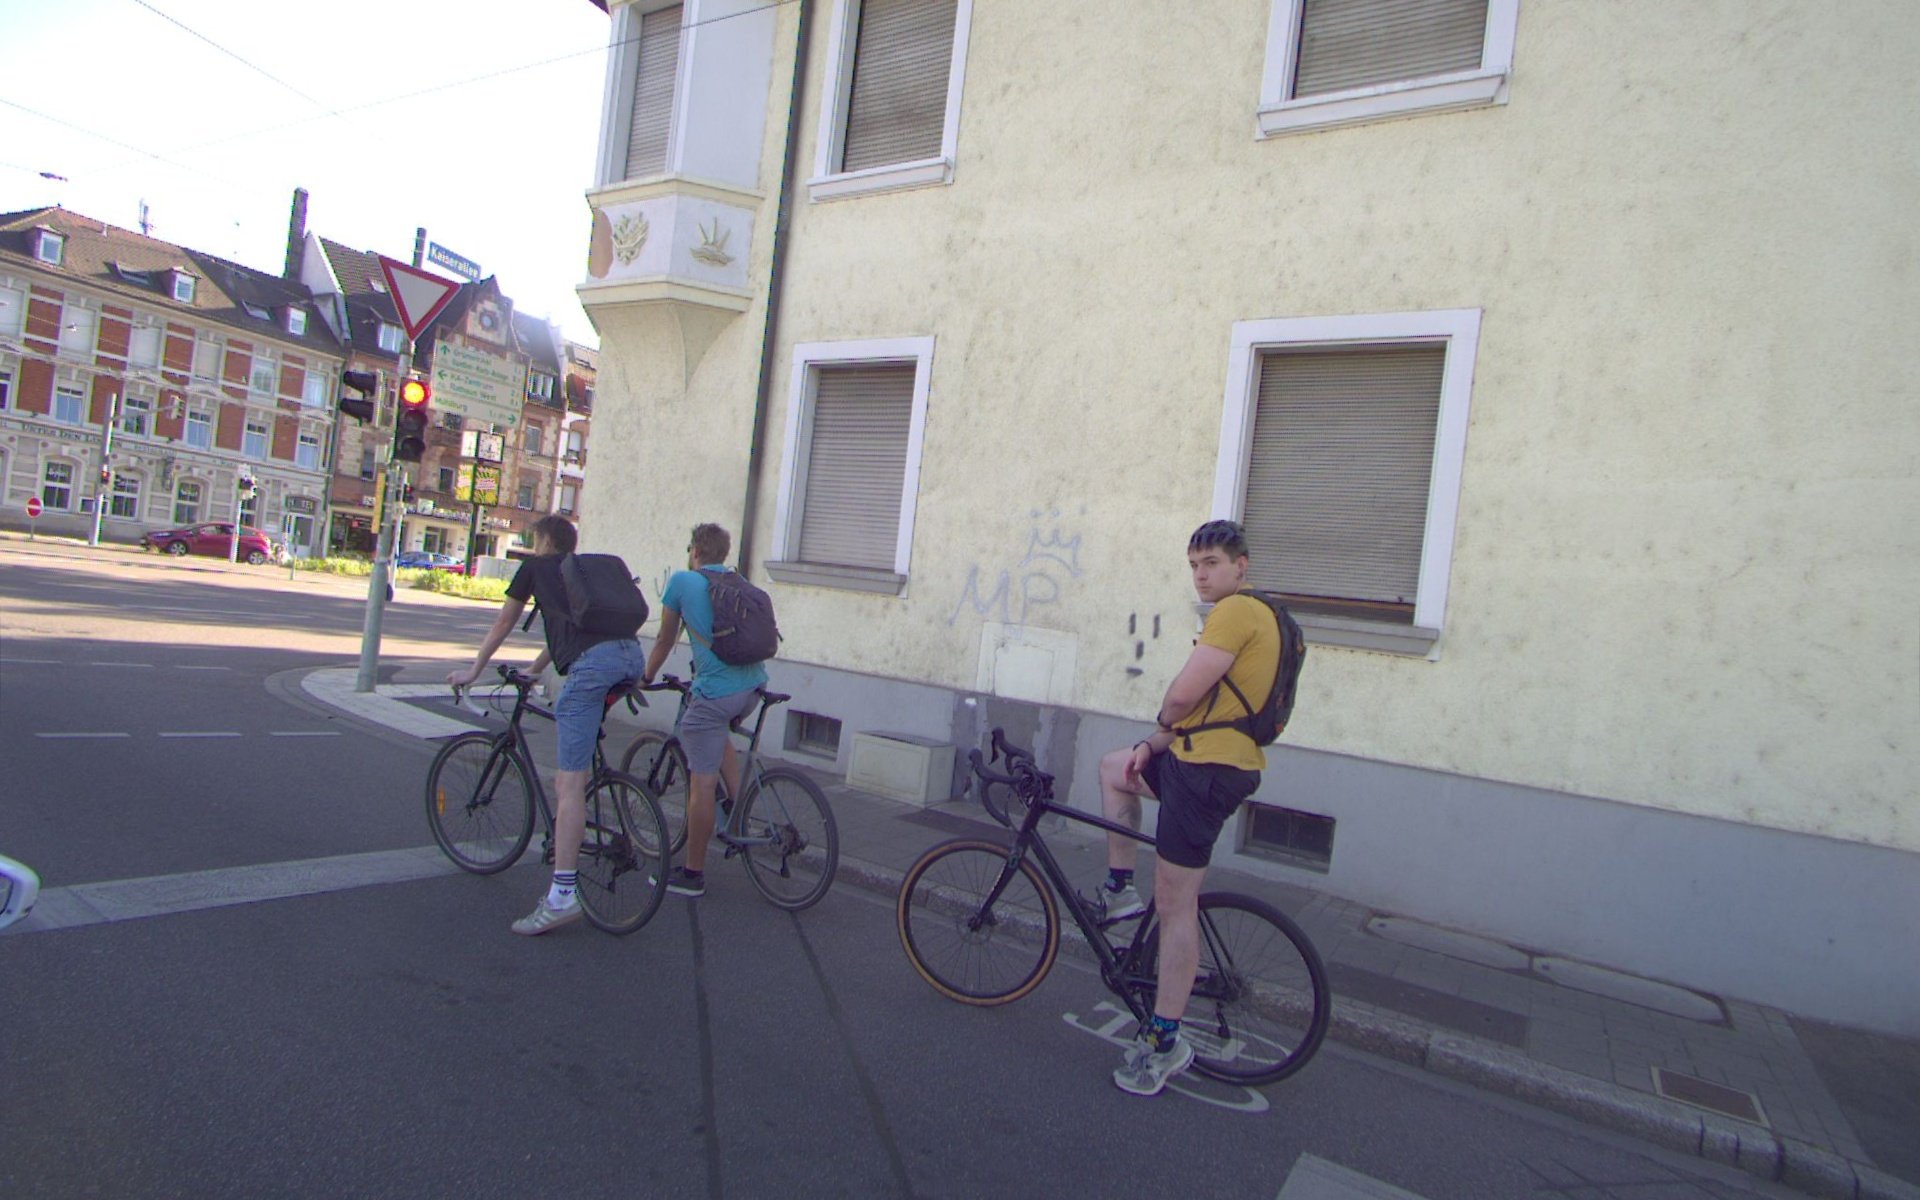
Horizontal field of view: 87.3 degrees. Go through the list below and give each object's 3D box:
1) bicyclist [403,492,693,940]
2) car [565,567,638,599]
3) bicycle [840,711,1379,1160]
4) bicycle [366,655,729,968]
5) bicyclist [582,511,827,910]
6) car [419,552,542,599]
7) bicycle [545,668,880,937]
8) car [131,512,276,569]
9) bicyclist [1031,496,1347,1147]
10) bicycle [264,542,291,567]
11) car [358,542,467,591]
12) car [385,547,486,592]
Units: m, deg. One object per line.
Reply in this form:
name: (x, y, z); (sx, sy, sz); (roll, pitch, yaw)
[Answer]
bicyclist: (-1.861, 0.470, 4.554); (0.920, 1.787, 0.590); (6, -1, 32)
car: (-23.161, -1.090, 65.135); (1.842, 1.454, 3.985); (6, -2, 35)
bicycle: (0.555, 1.122, 3.796); (1.709, 1.119, 0.783); (7, -1, 18)
bicycle: (-1.911, 0.866, 4.551); (1.753, 1.003, 0.482); (6, -1, 32)
bicyclist: (-1.337, 0.526, 5.261); (0.960, 1.868, 0.504); (6, -1, 32)
car: (-22.197, -1.102, 46.759); (1.774, 1.487, 4.866); (8, -1, 32)
bicycle: (-1.325, 0.971, 5.218); (1.753, 0.995, 0.504); (6, -1, 32)
car: (-27.834, -2.159, 37.123); (1.569, 1.443, 3.876); (7, -1, 32)
bicyclist: (0.845, 0.709, 3.650); (0.763, 1.990, 0.783); (7, 0, 18)
bicycle: (-32.866, -2.189, 48.416); (0.789, 1.027, 2.186); (8, -2, -39)
car: (-25.448, -1.547, 46.887); (1.775, 1.641, 3.994); (6, -2, 33)
car: (-26.162, -1.506, 50.320); (1.775, 1.641, 3.994); (6, -2, 33)
